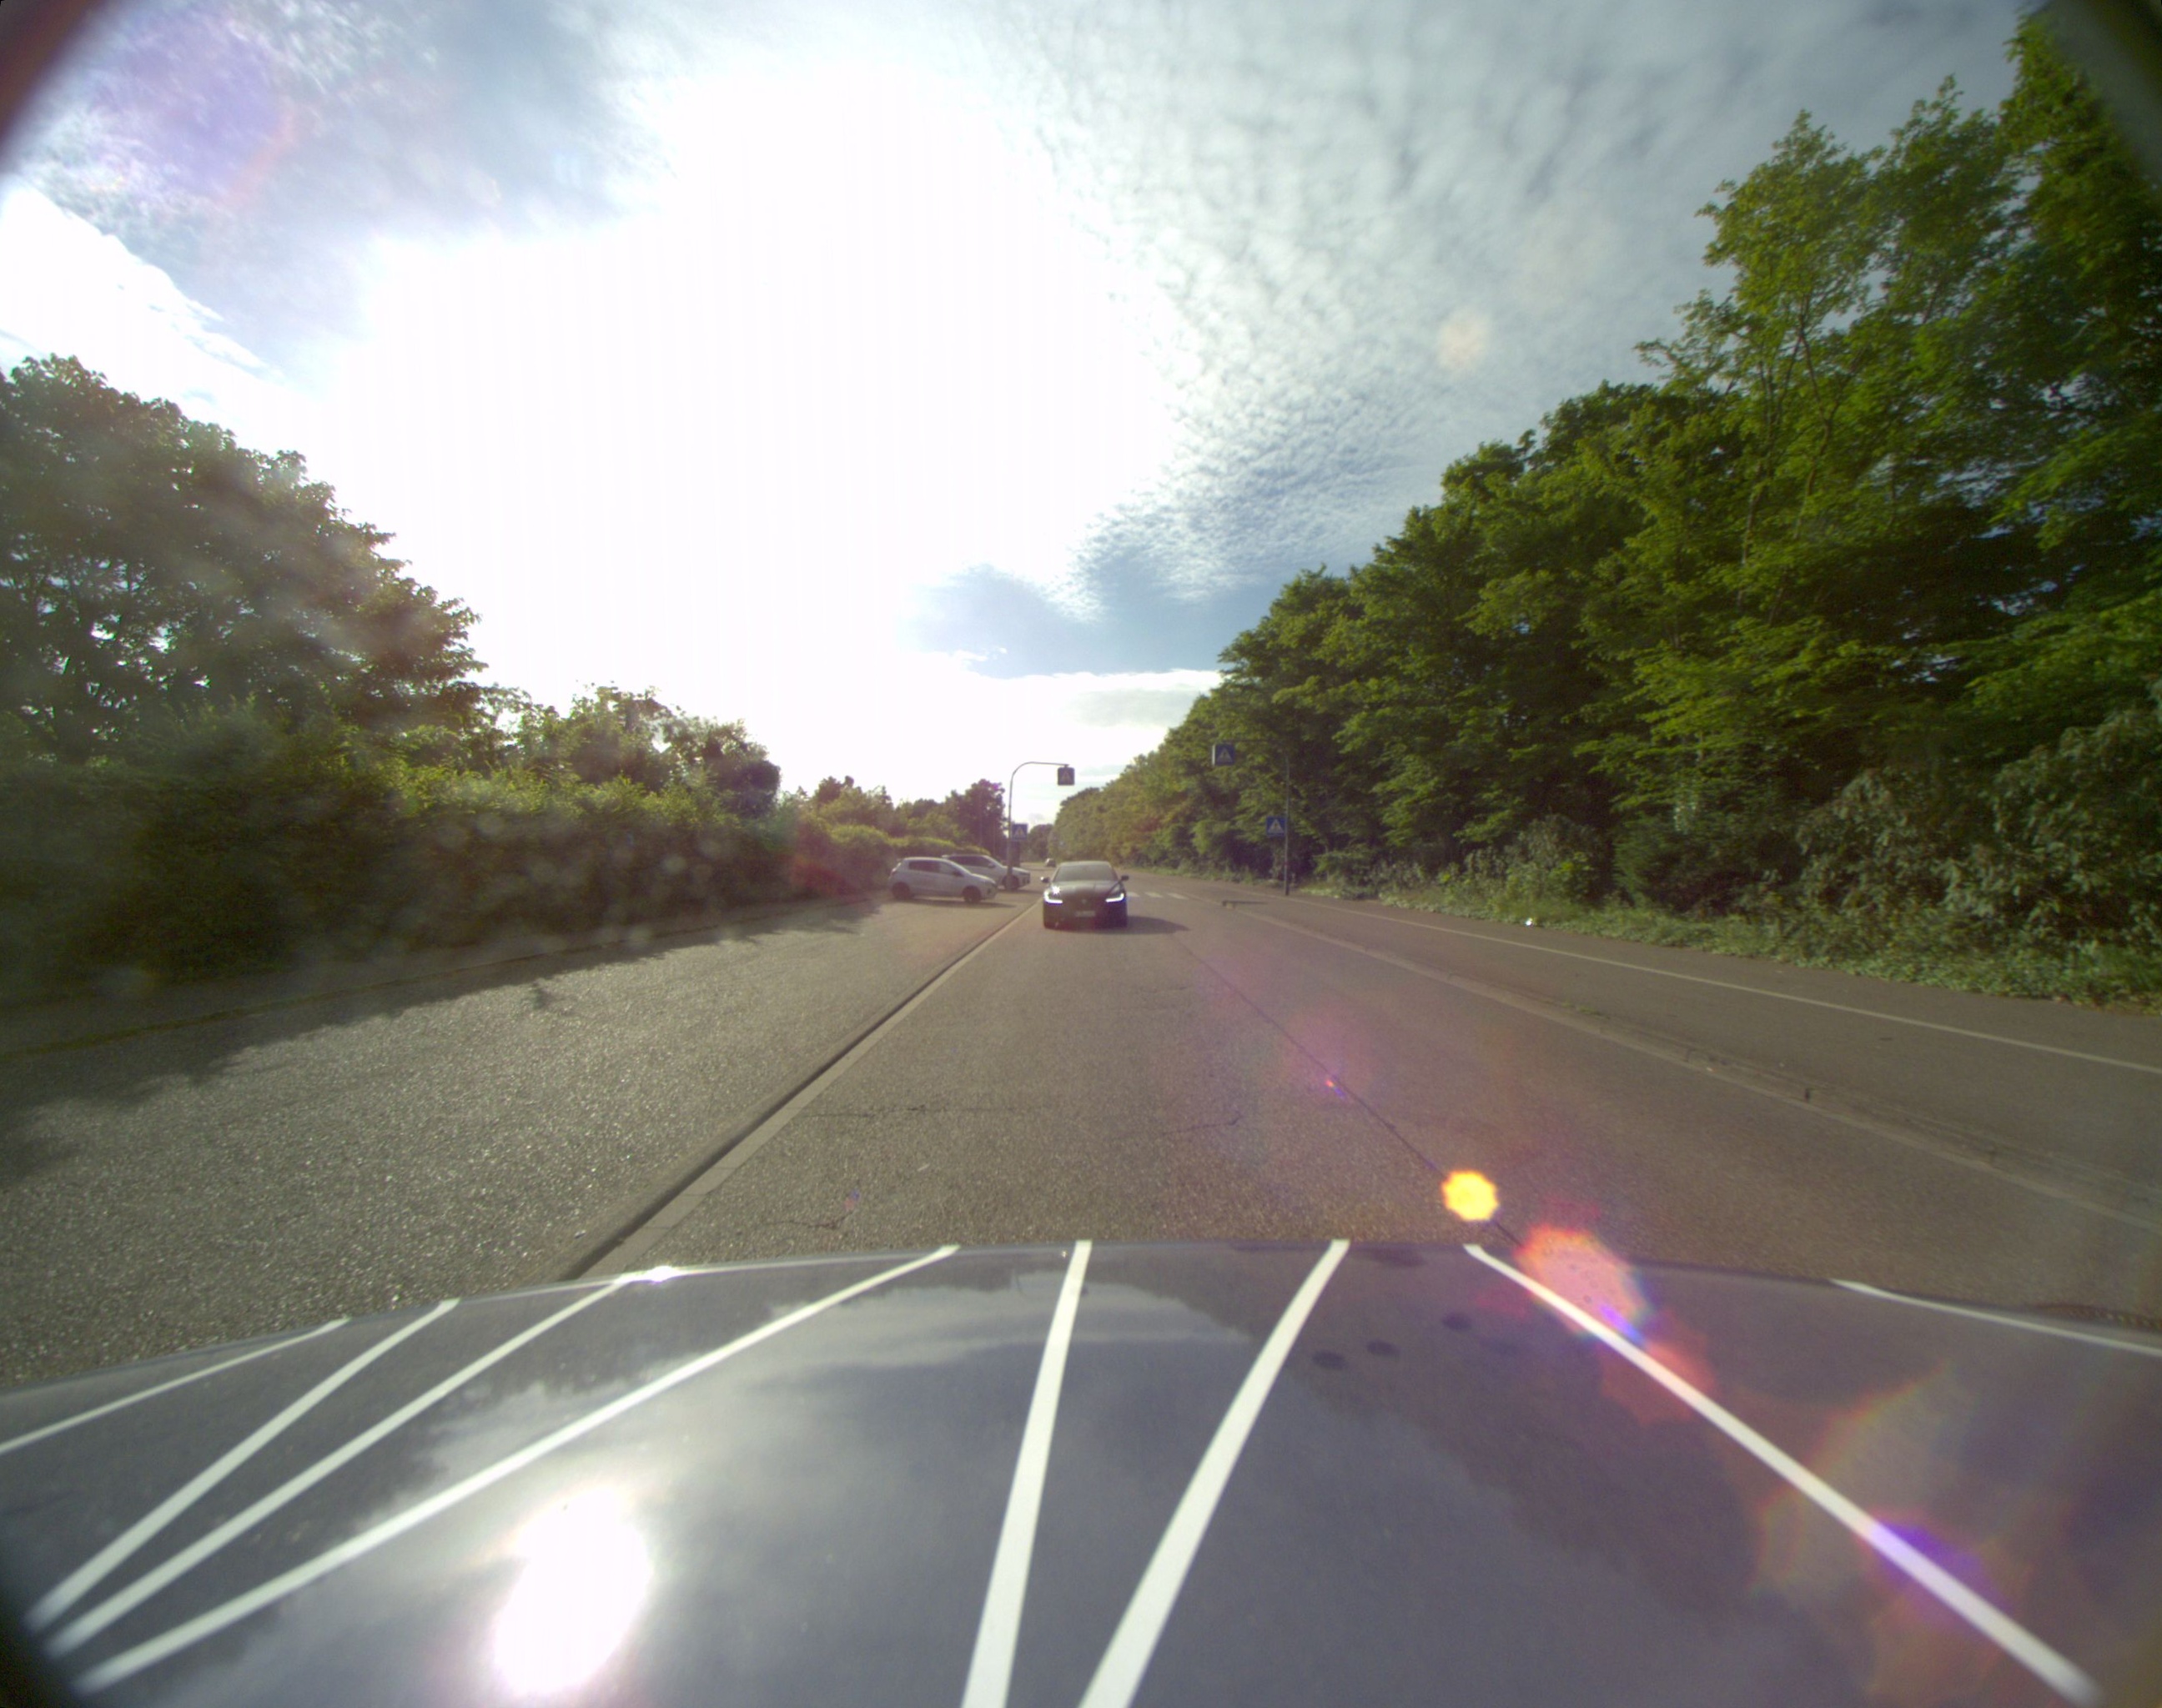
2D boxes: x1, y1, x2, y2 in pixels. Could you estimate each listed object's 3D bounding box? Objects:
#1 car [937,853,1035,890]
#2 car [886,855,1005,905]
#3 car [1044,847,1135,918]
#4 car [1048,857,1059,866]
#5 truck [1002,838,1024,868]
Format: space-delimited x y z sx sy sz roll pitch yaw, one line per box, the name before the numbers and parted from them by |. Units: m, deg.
car | -4.674 0.843 37.713 4.599 1.690 1.763 1 1 1
car | -4.749 0.909 26.977 3.867 1.481 1.692 3 -1 -1
car | 0.151 0.597 18.534 1.936 1.501 4.679 0 0 -1
car | -5.198 1.418 143.698 1.807 1.576 4.100 1 1 -3
truck | -9.575 -0.187 107.182 2.604 3.935 6.279 4 0 -8
